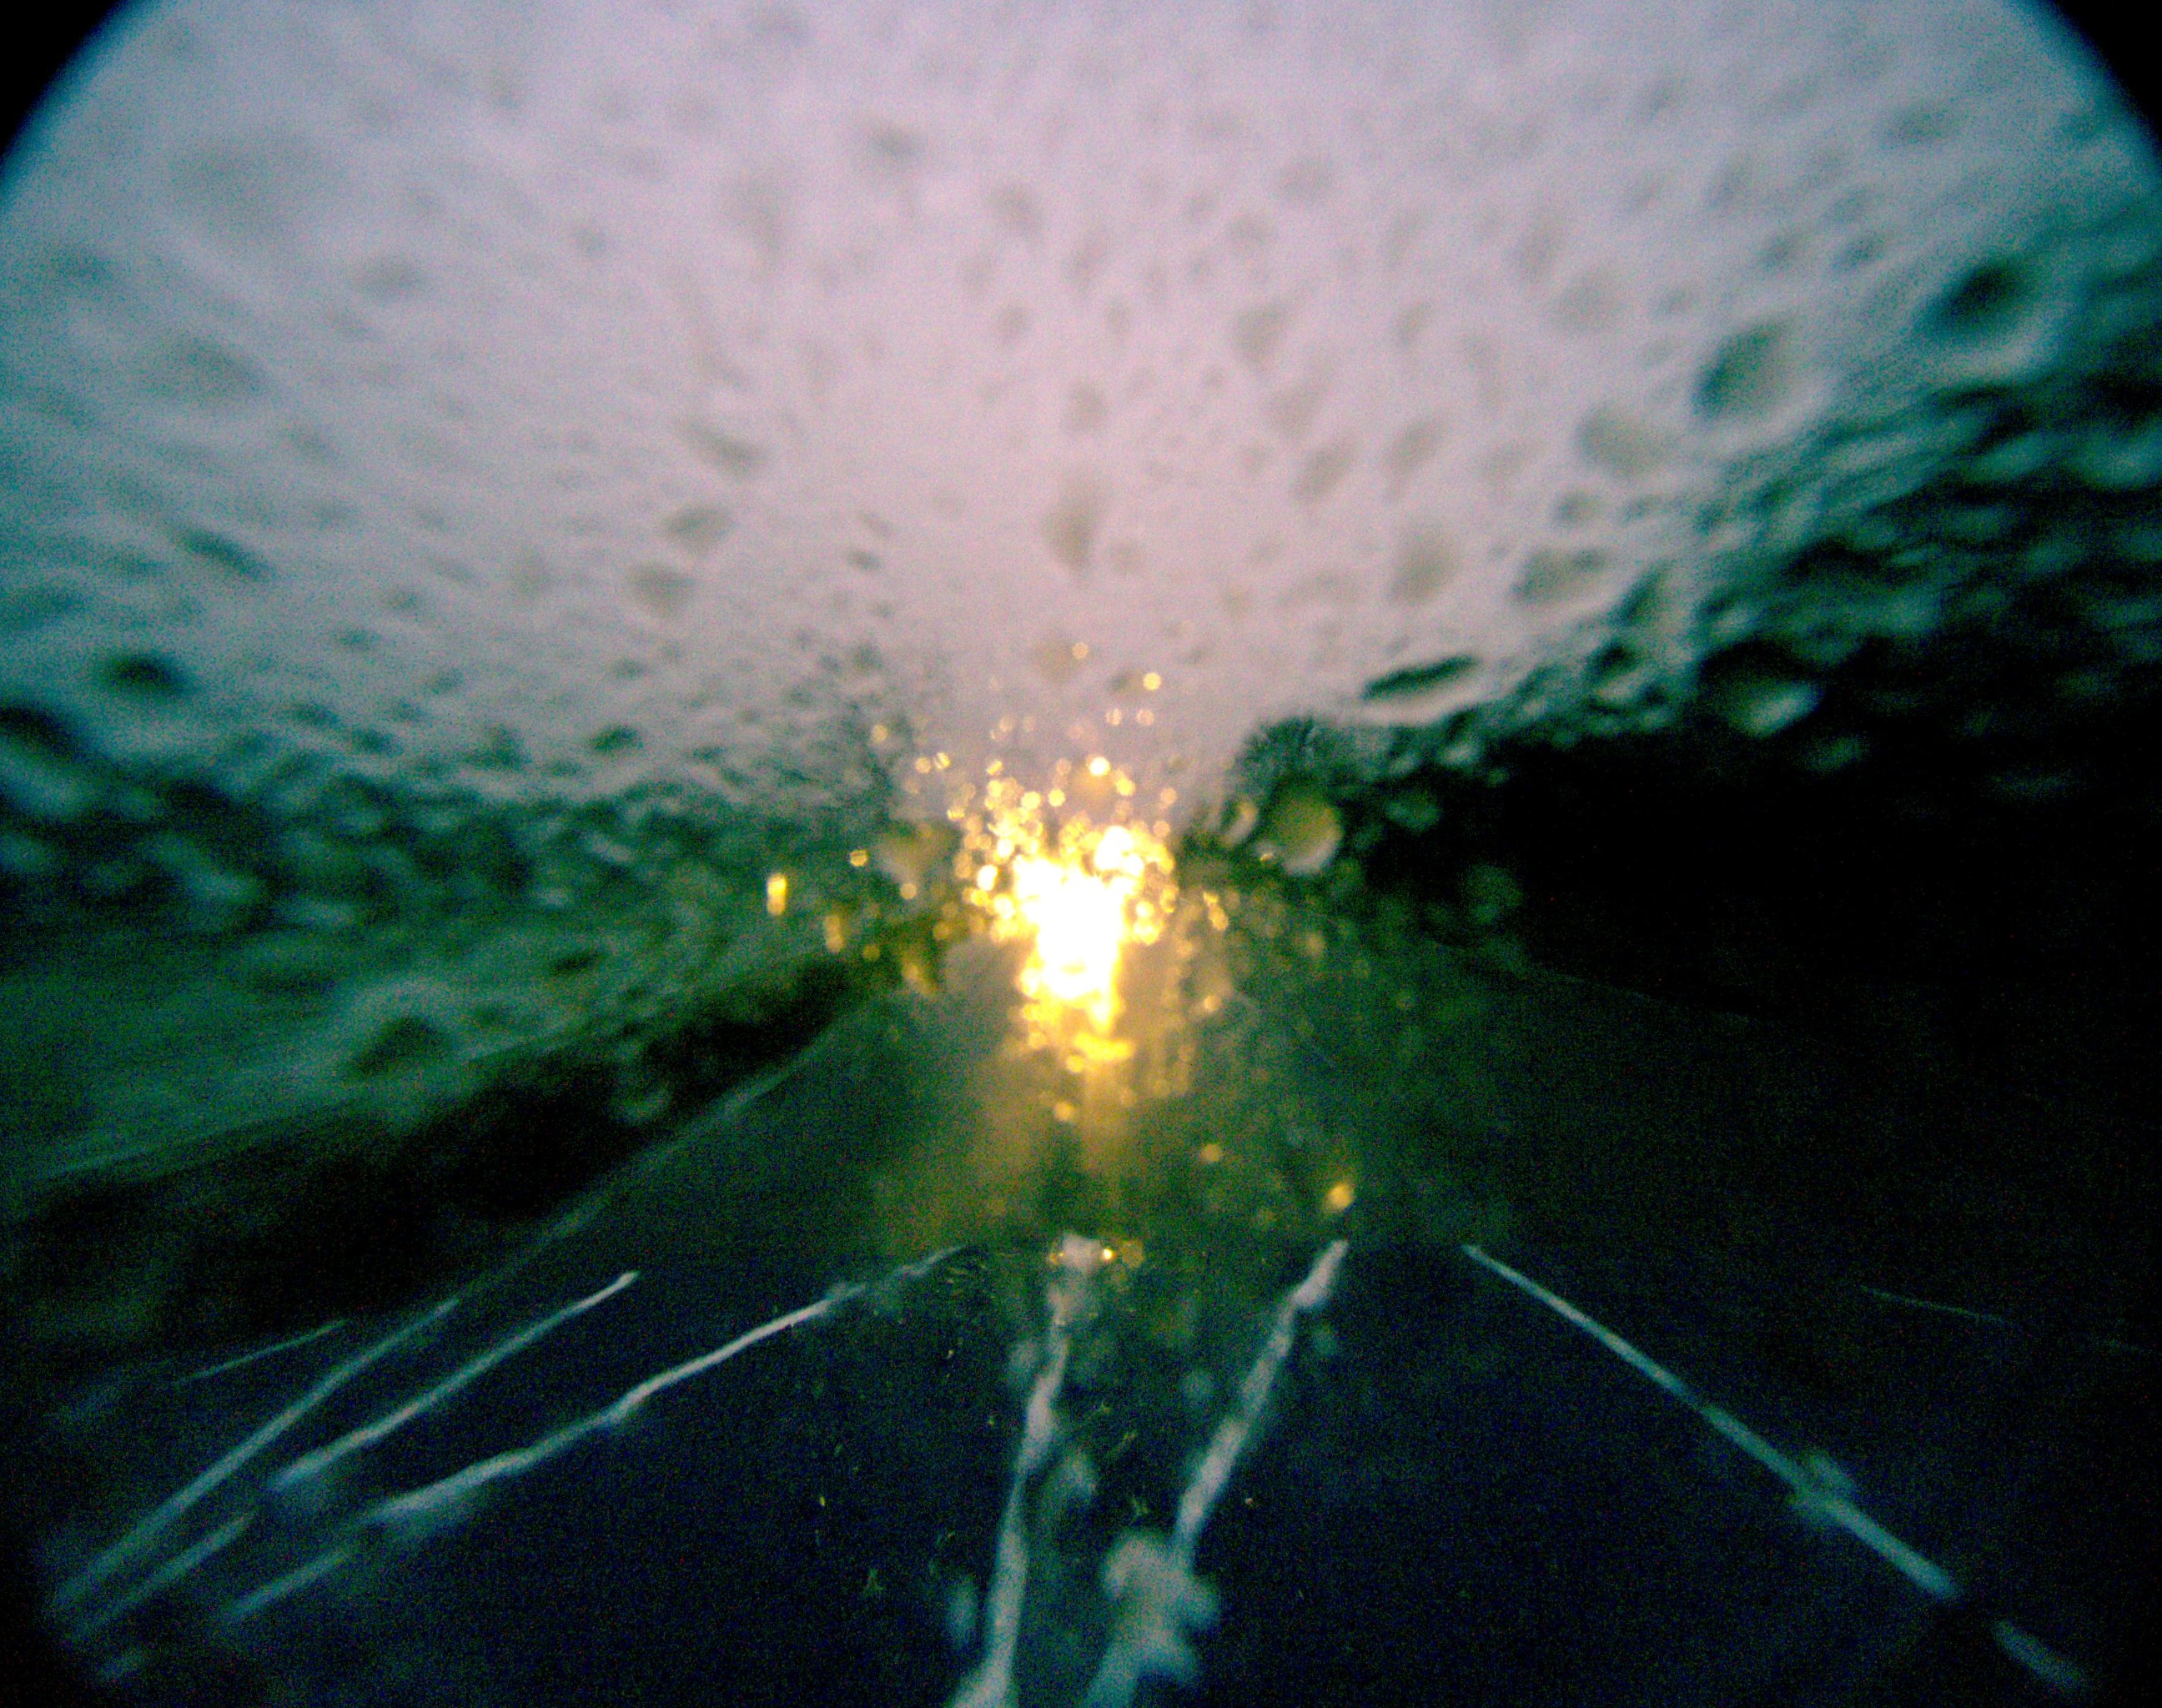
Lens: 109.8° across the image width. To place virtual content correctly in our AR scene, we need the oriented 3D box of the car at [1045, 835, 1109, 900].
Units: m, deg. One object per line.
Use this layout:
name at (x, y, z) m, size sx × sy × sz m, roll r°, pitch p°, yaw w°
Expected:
car at (-0.069, 0.456, 28.487) m, size 1.952 × 2.195 × 4.536 m, roll -2°, pitch 0°, yaw 4°
